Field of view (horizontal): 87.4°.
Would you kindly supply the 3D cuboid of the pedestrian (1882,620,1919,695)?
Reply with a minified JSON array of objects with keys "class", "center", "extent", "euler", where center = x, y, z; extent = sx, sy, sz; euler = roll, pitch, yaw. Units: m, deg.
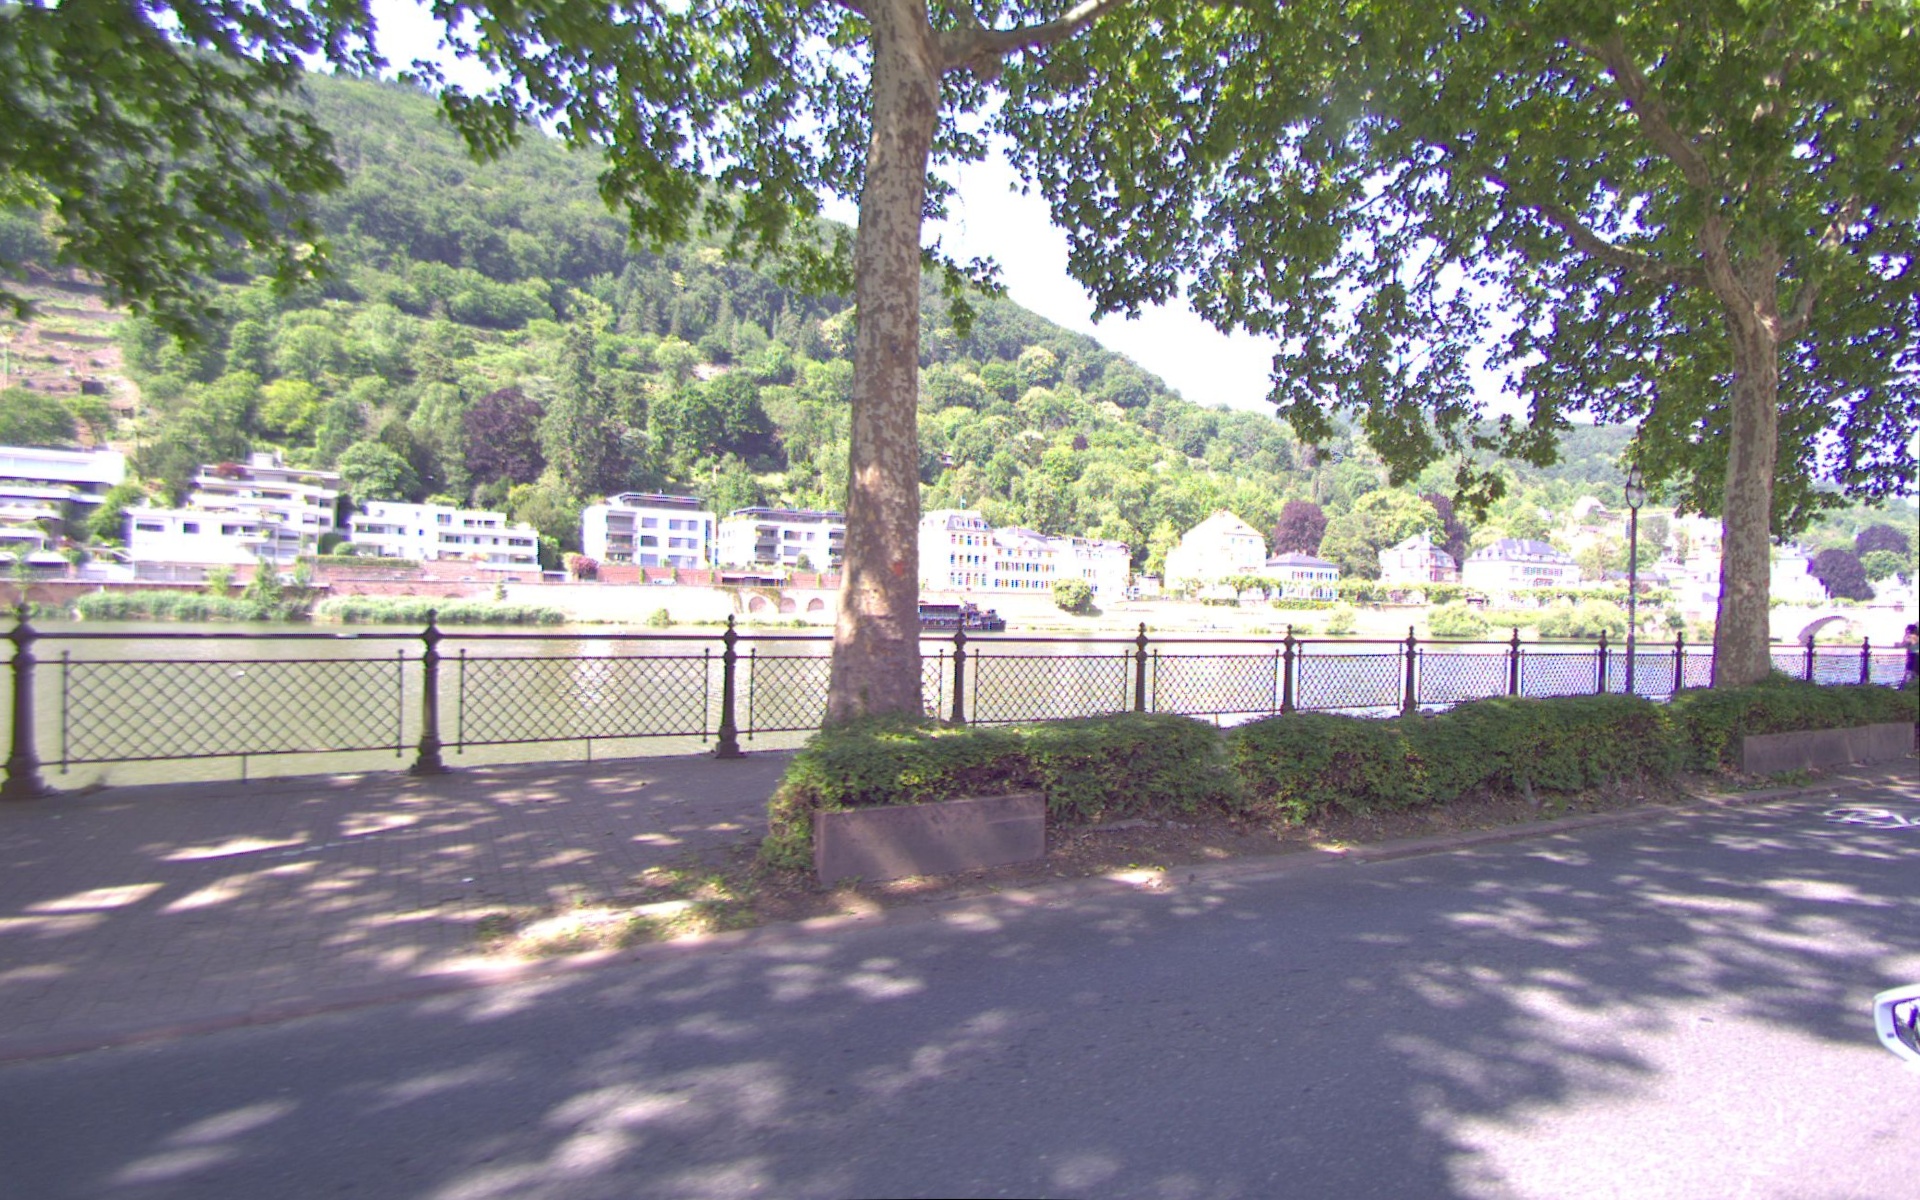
[{"class":"pedestrian","center":[21.465,1.288,22.742],"extent":[0.900,1.630,0.546],"euler":[2,2,-30]}]
